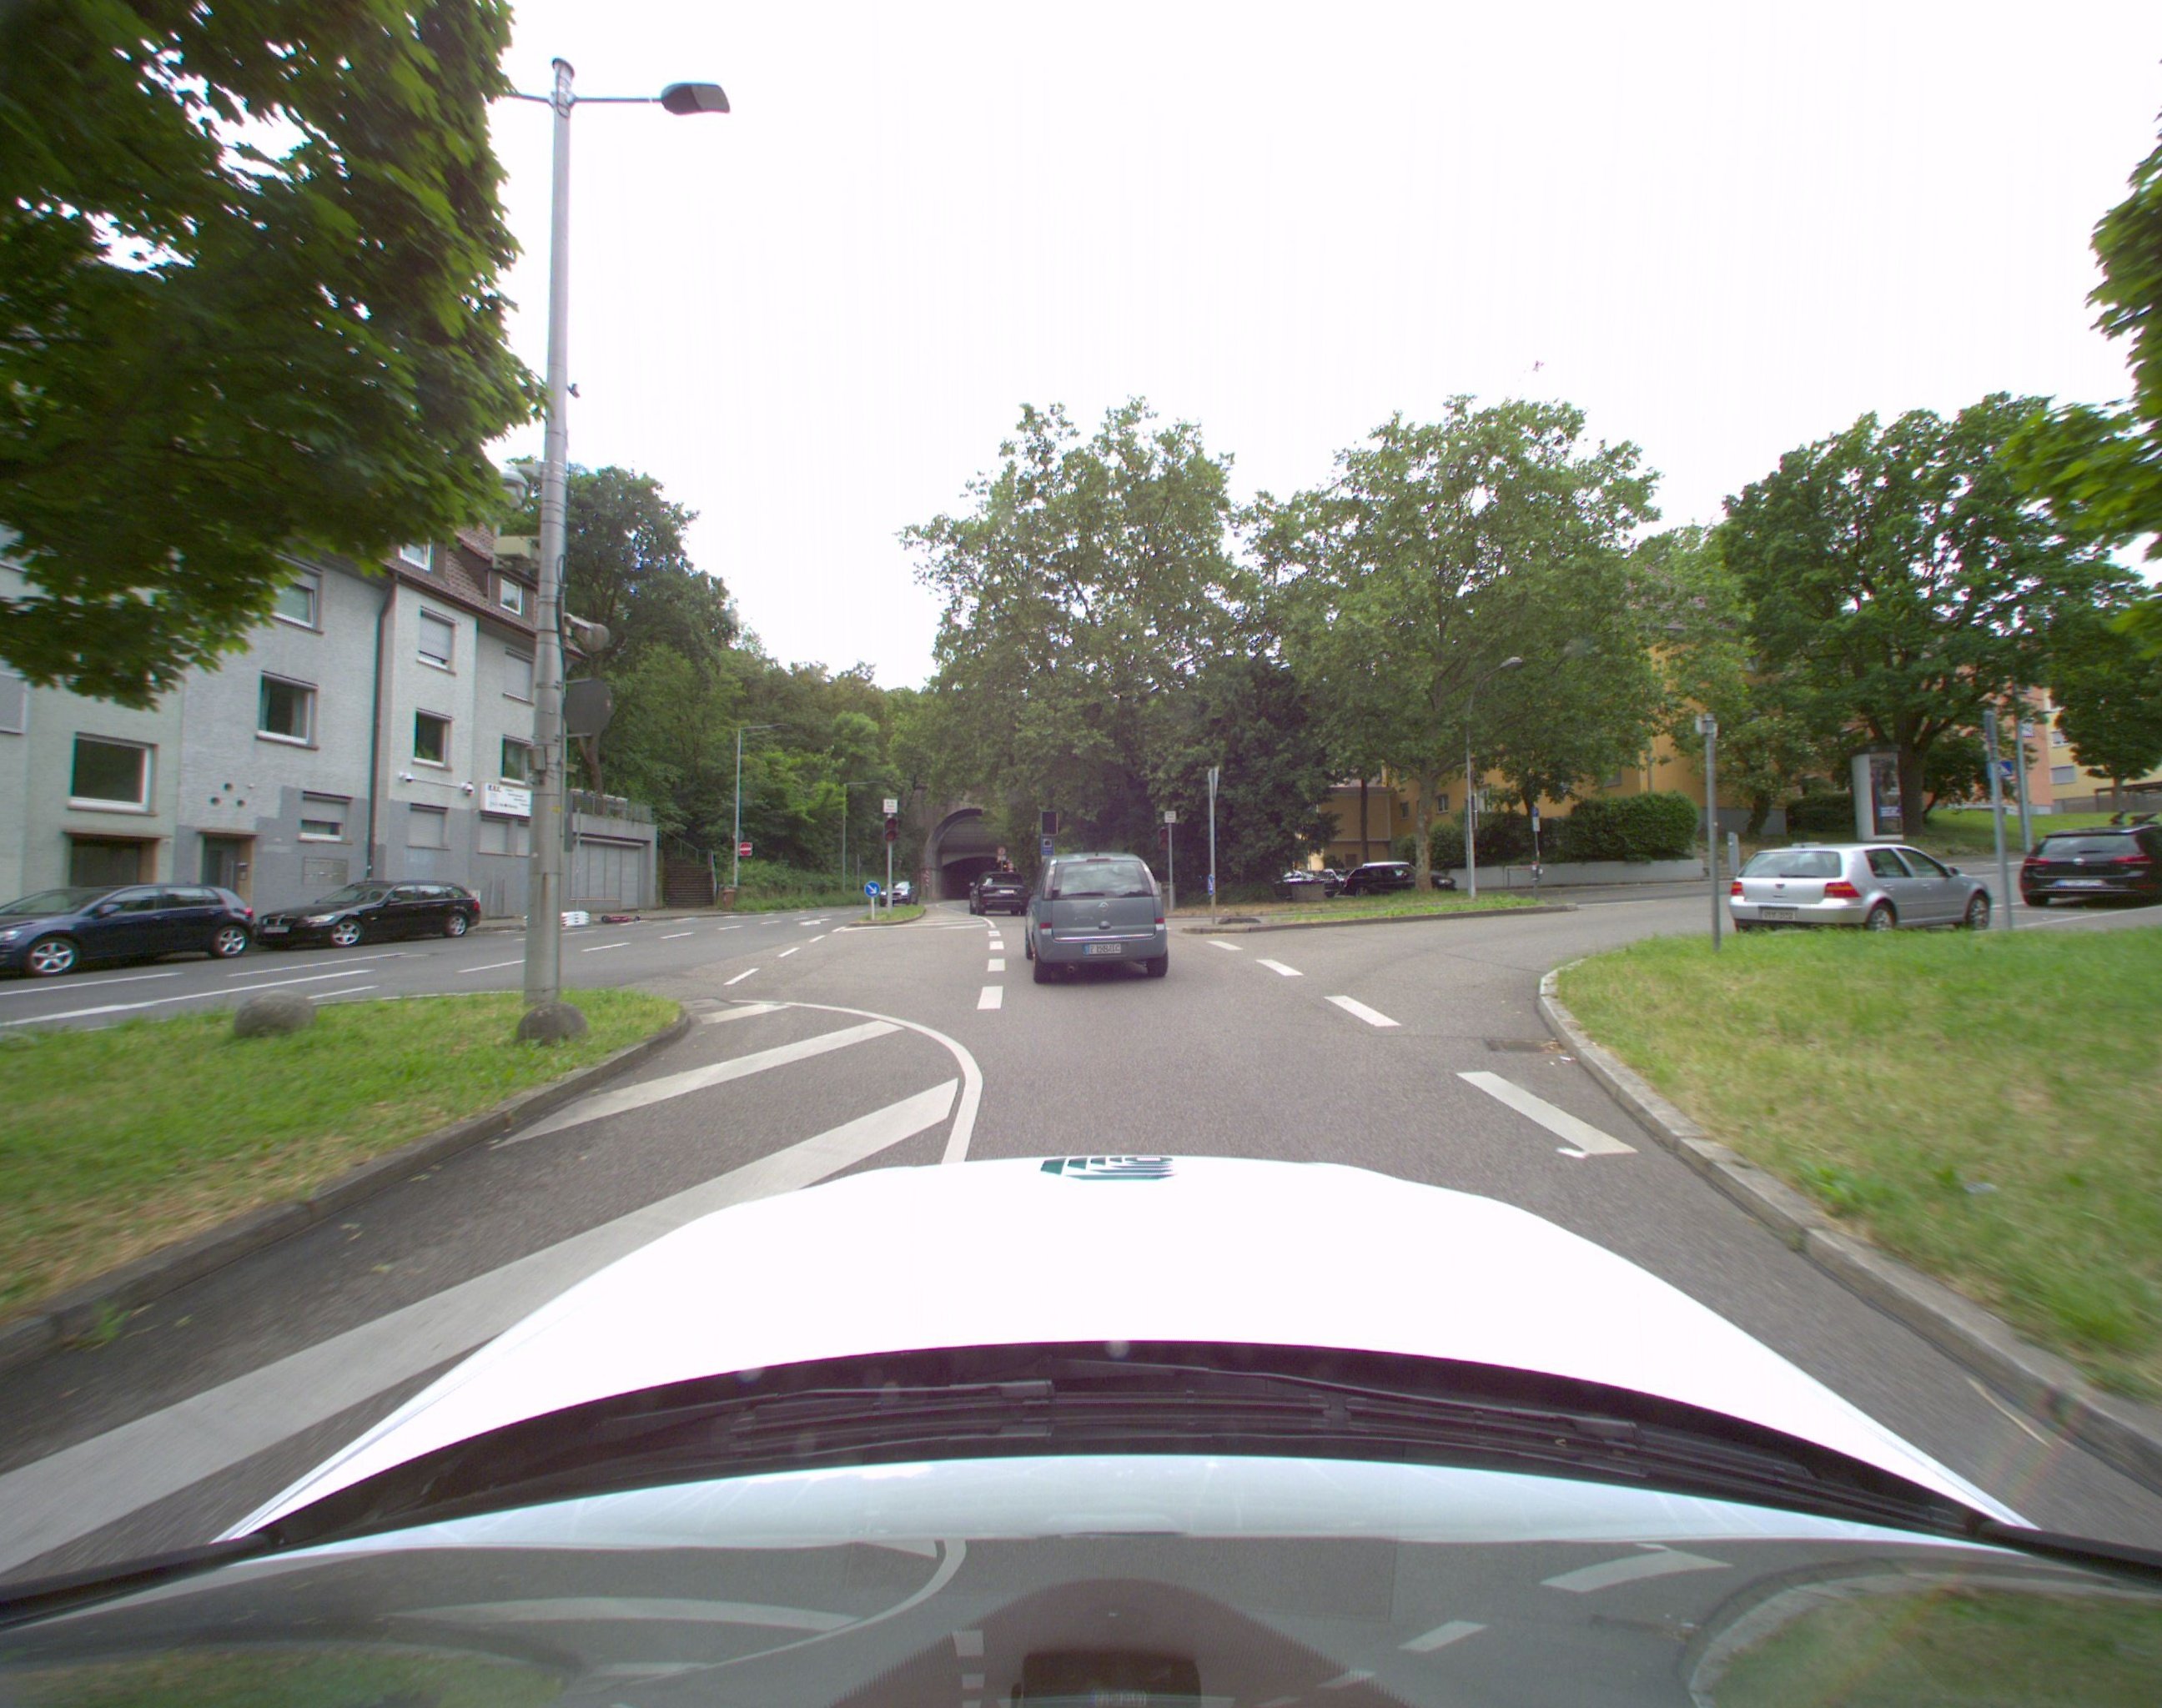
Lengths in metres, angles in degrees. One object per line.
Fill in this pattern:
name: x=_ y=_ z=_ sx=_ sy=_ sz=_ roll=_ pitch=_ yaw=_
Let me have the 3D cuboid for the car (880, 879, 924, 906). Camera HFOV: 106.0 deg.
car: x=-11.943 y=2.556 z=54.607 sx=1.864 sy=1.699 sz=4.933 roll=-1 pitch=-2 yaw=-1

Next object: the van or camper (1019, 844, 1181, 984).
van or camper: x=0.096 y=0.726 z=11.386 sx=1.733 sy=1.578 sz=3.637 roll=-2 pitch=-1 yaw=-7

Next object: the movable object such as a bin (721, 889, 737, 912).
movable object such as a bin: x=-15.414 y=2.031 z=35.656 sx=0.516 sy=0.967 sz=0.442 roll=3 pitch=-3 yaw=-13

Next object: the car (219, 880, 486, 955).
car: x=-16.537 y=1.366 z=18.899 sx=1.985 sy=1.400 sz=4.521 roll=-1 pitch=-1 yaw=3

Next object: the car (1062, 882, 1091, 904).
car: x=-0.369 y=2.708 z=56.864 sx=1.781 sy=1.442 sz=5.056 roll=-1 pitch=-2 yaw=-3

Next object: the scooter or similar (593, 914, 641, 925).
scooter or similar: x=-15.381 y=2.174 z=27.027 sx=1.125 sy=0.288 sz=1.094 roll=-2 pitch=-2 yaw=-13

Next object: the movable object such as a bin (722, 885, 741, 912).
movable object such as a bin: x=-15.545 y=1.970 z=36.216 sx=0.605 sy=1.186 sz=0.490 roll=3 pitch=-3 yaw=-13

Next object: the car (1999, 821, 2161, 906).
car: x=19.547 y=0.131 z=15.370 sx=4.136 sy=1.428 sz=1.724 roll=-2 pitch=-2 yaw=-24

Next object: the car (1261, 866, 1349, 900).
car: x=11.404 y=1.531 z=41.827 sx=1.998 sy=1.578 sz=4.875 roll=-1 pitch=-2 yaw=-17

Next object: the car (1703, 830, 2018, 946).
car: x=11.872 y=0.431 z=12.436 sx=4.131 sy=1.428 sz=1.850 roll=-2 pitch=1 yaw=-20

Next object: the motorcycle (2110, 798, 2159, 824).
motorcycle: x=51.401 y=-2.084 z=39.748 sx=0.621 sy=1.137 sz=1.352 roll=-2 pitch=-1 yaw=-29

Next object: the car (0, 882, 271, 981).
car: x=-16.865 y=1.215 z=13.854 sx=1.988 sy=1.423 sz=4.209 roll=-1 pitch=-2 yaw=-1

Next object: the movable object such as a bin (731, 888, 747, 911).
movable object such as a bin: x=-15.888 y=2.105 z=37.832 sx=0.556 sy=1.025 sz=0.428 roll=3 pitch=-3 yaw=-13

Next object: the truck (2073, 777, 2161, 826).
truck: x=64.933 y=-3.237 z=49.270 sx=1.994 sy=2.732 sz=5.976 roll=-2 pitch=-1 yaw=-11

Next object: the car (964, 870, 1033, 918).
car: x=-3.216 y=1.467 z=31.100 sx=1.997 sy=1.653 sz=3.979 roll=-1 pitch=-1 yaw=-15

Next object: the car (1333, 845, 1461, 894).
car: x=12.701 y=0.645 z=32.866 sx=4.368 sy=1.485 sz=1.875 roll=-7 pitch=-2 yaw=34
